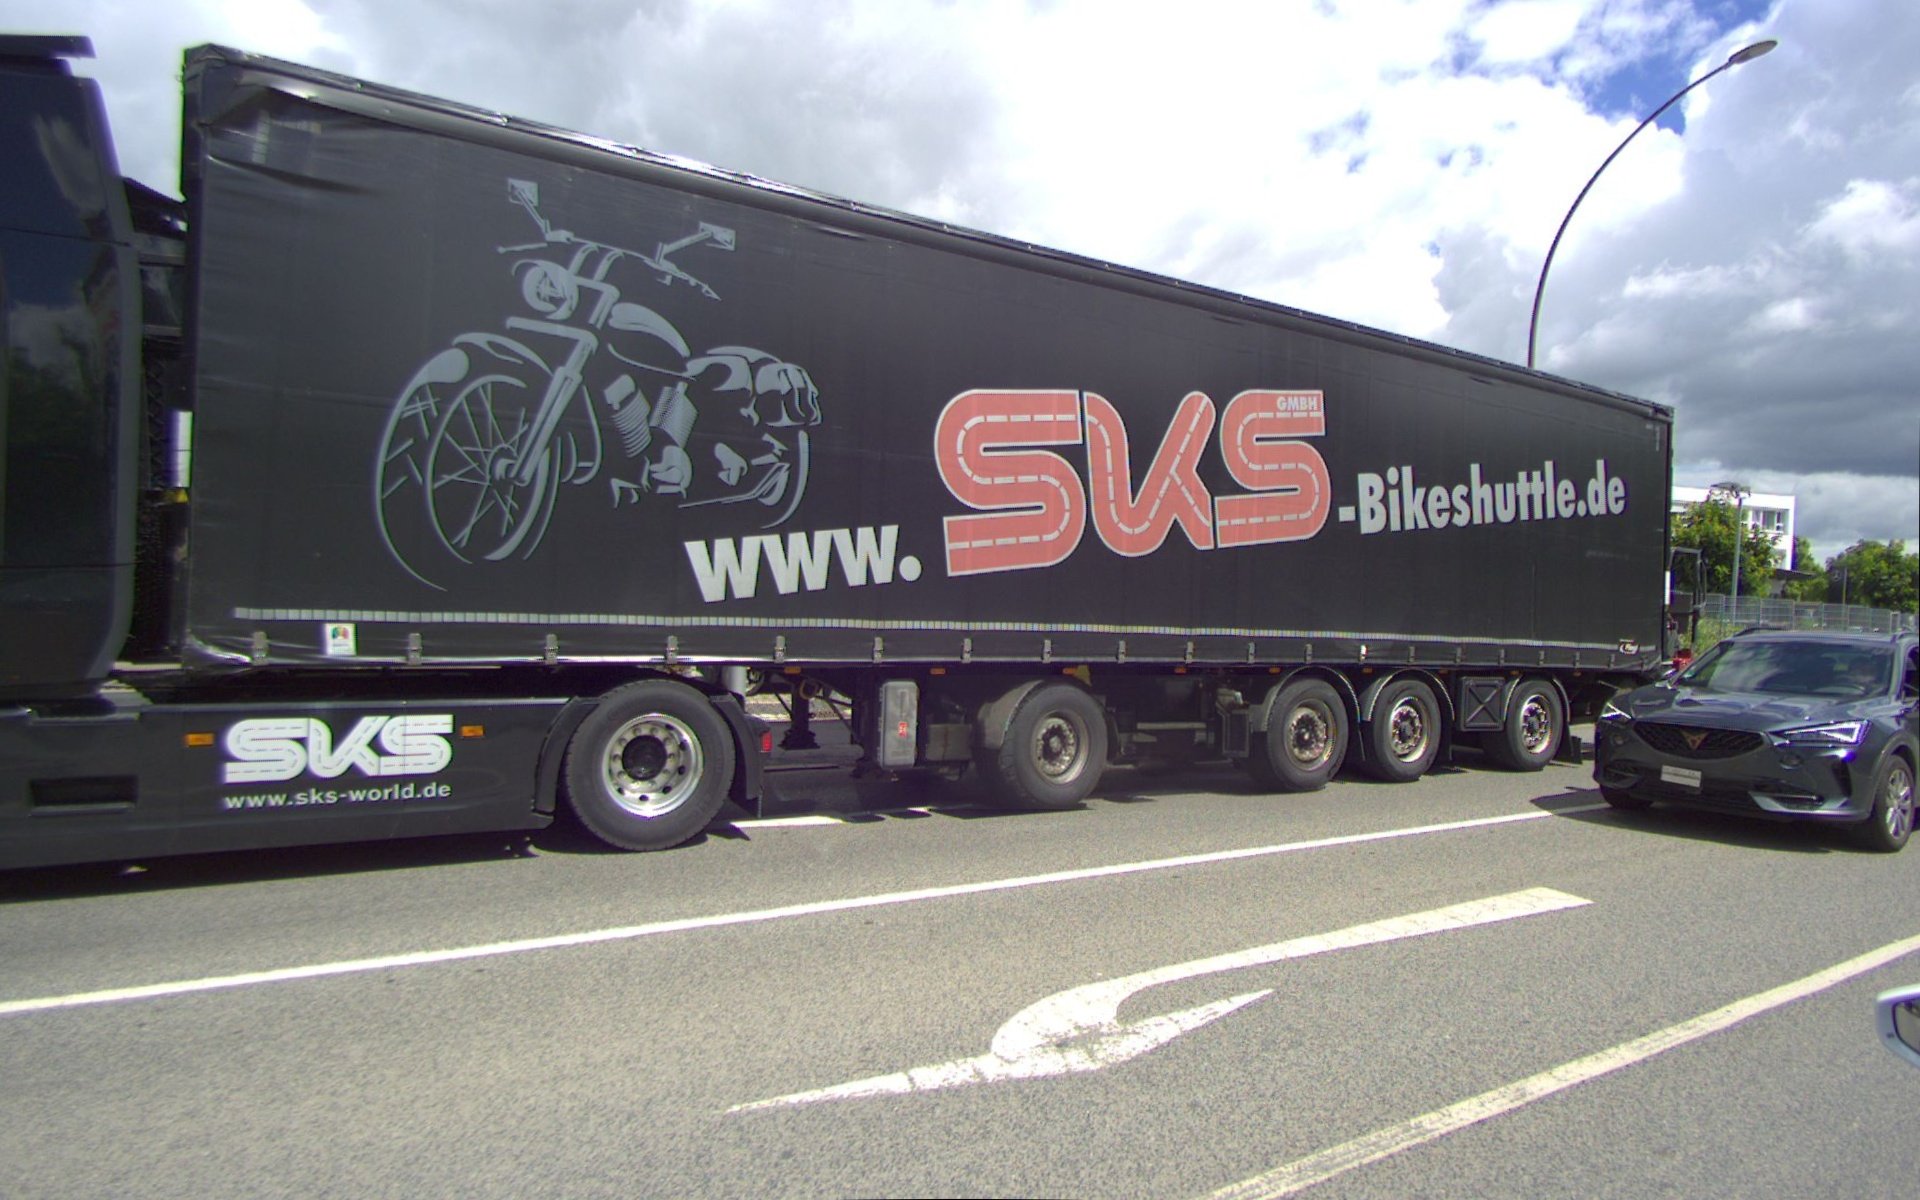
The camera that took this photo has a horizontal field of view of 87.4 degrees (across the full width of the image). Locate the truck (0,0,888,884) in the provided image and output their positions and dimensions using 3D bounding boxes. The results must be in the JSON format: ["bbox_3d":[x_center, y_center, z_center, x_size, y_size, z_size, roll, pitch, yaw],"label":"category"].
[{"bbox_3d":[-3.997,-0.821,6.044,6.422,4.107,2.787,2,1,-29],"label":"truck"}]

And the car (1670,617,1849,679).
[{"bbox_3d":[26.611,1.539,33.563,2.151,1.723,4.166,2,1,-33],"label":"car"}]

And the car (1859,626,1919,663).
[{"bbox_3d":[50.077,2.366,52.601,2.135,1.723,3.979,2,1,-11],"label":"car"}]

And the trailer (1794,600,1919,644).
[{"bbox_3d":[88.900,2.129,99.200,9.576,4.148,2.821,1,0,29],"label":"trailer"}]

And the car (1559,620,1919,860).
[{"bbox_3d":[6.960,0.963,8.250,4.207,1.482,1.829,2,-1,-33],"label":"car"}]

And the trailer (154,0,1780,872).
[{"bbox_3d":[2.400,-0.574,9.592,15.367,4.107,2.786,2,1,-29],"label":"trailer"}]
